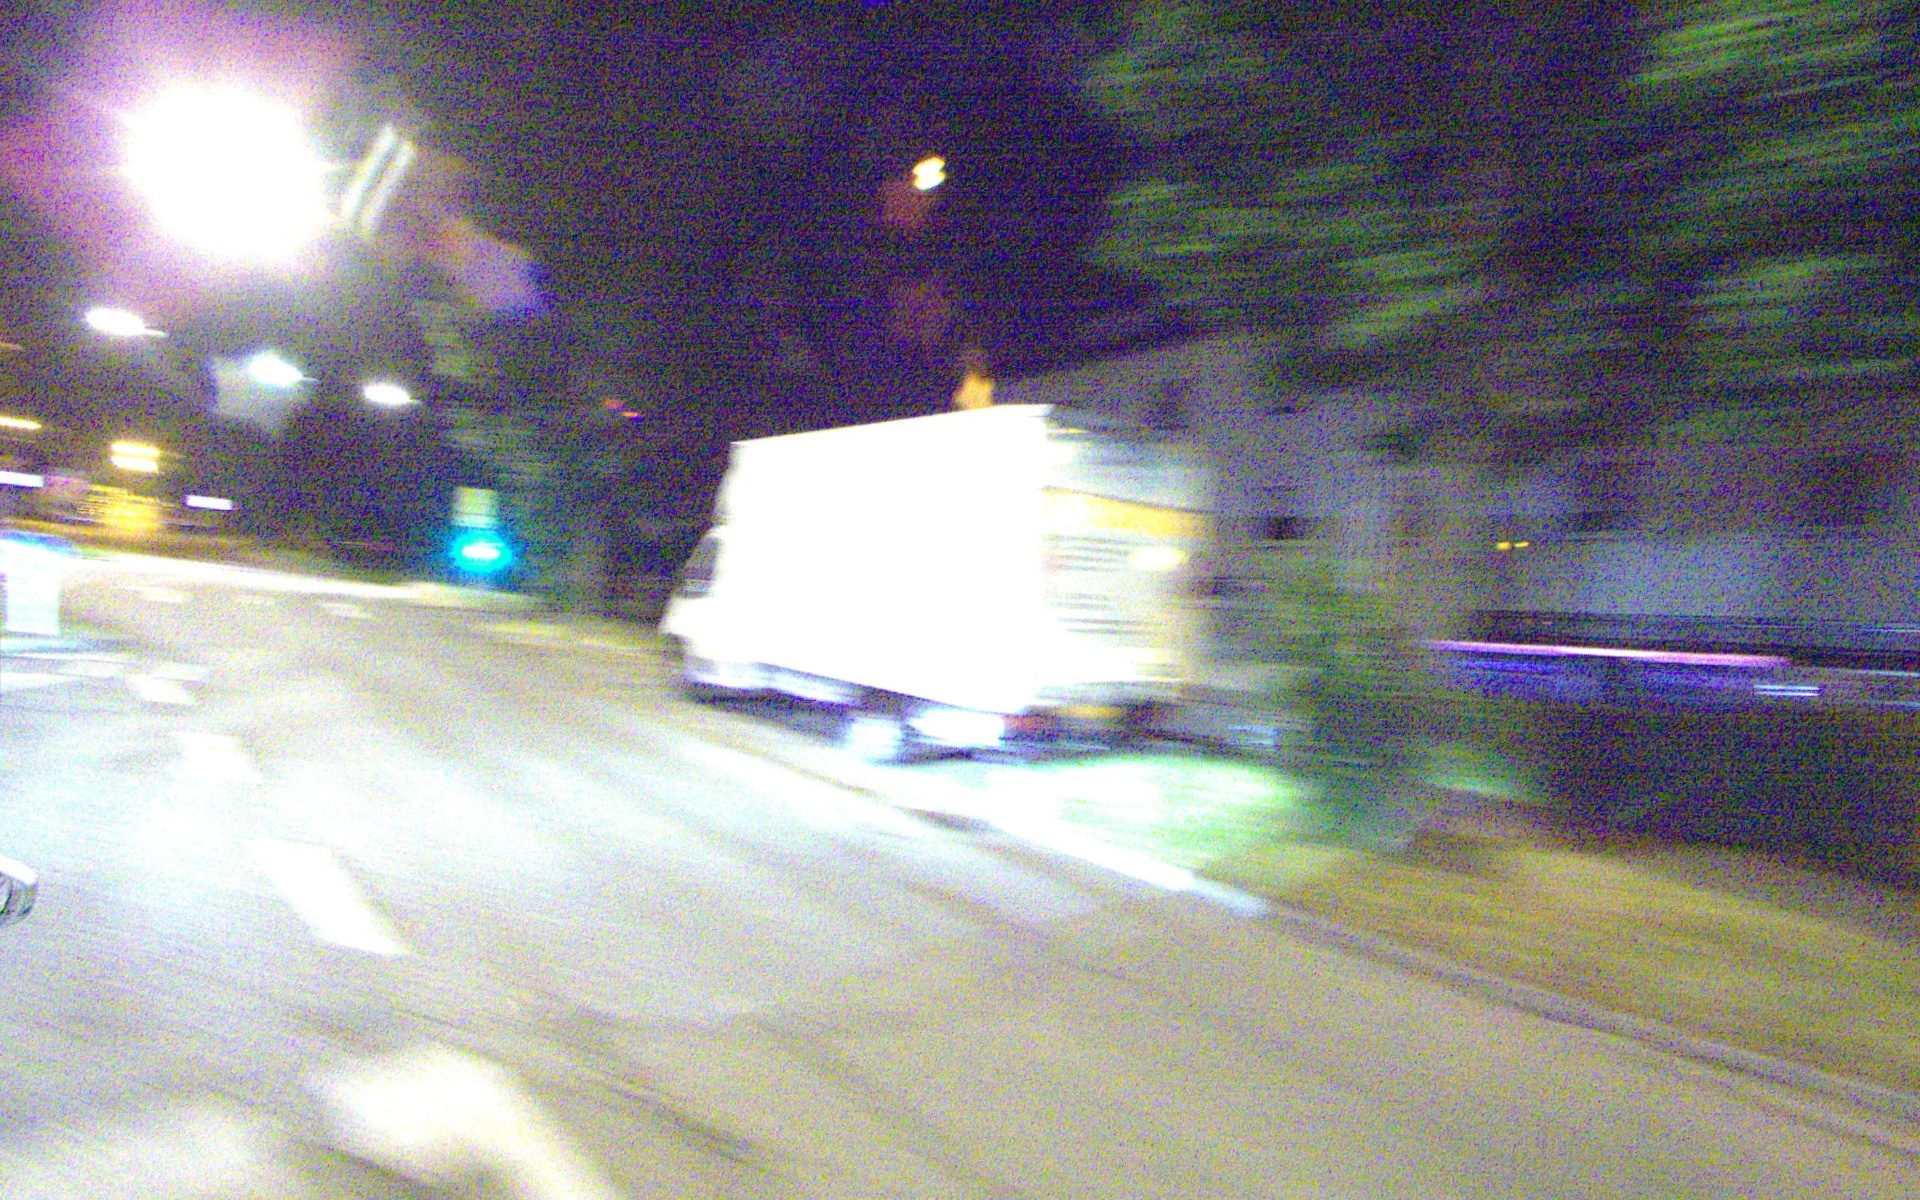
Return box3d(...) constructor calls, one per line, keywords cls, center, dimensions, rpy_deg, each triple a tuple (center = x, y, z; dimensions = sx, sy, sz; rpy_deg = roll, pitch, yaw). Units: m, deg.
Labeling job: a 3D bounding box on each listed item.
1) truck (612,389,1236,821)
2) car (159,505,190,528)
box3d(cls="truck", center=(-0.941, -0.101, 10.730), dimensions=(2.750, 3.084, 6.957), rpy_deg=(3, 2, -40))
box3d(cls="car", center=(-71.311, -7.583, 91.327), dimensions=(1.985, 1.791, 3.955), rpy_deg=(7, 0, -40))
